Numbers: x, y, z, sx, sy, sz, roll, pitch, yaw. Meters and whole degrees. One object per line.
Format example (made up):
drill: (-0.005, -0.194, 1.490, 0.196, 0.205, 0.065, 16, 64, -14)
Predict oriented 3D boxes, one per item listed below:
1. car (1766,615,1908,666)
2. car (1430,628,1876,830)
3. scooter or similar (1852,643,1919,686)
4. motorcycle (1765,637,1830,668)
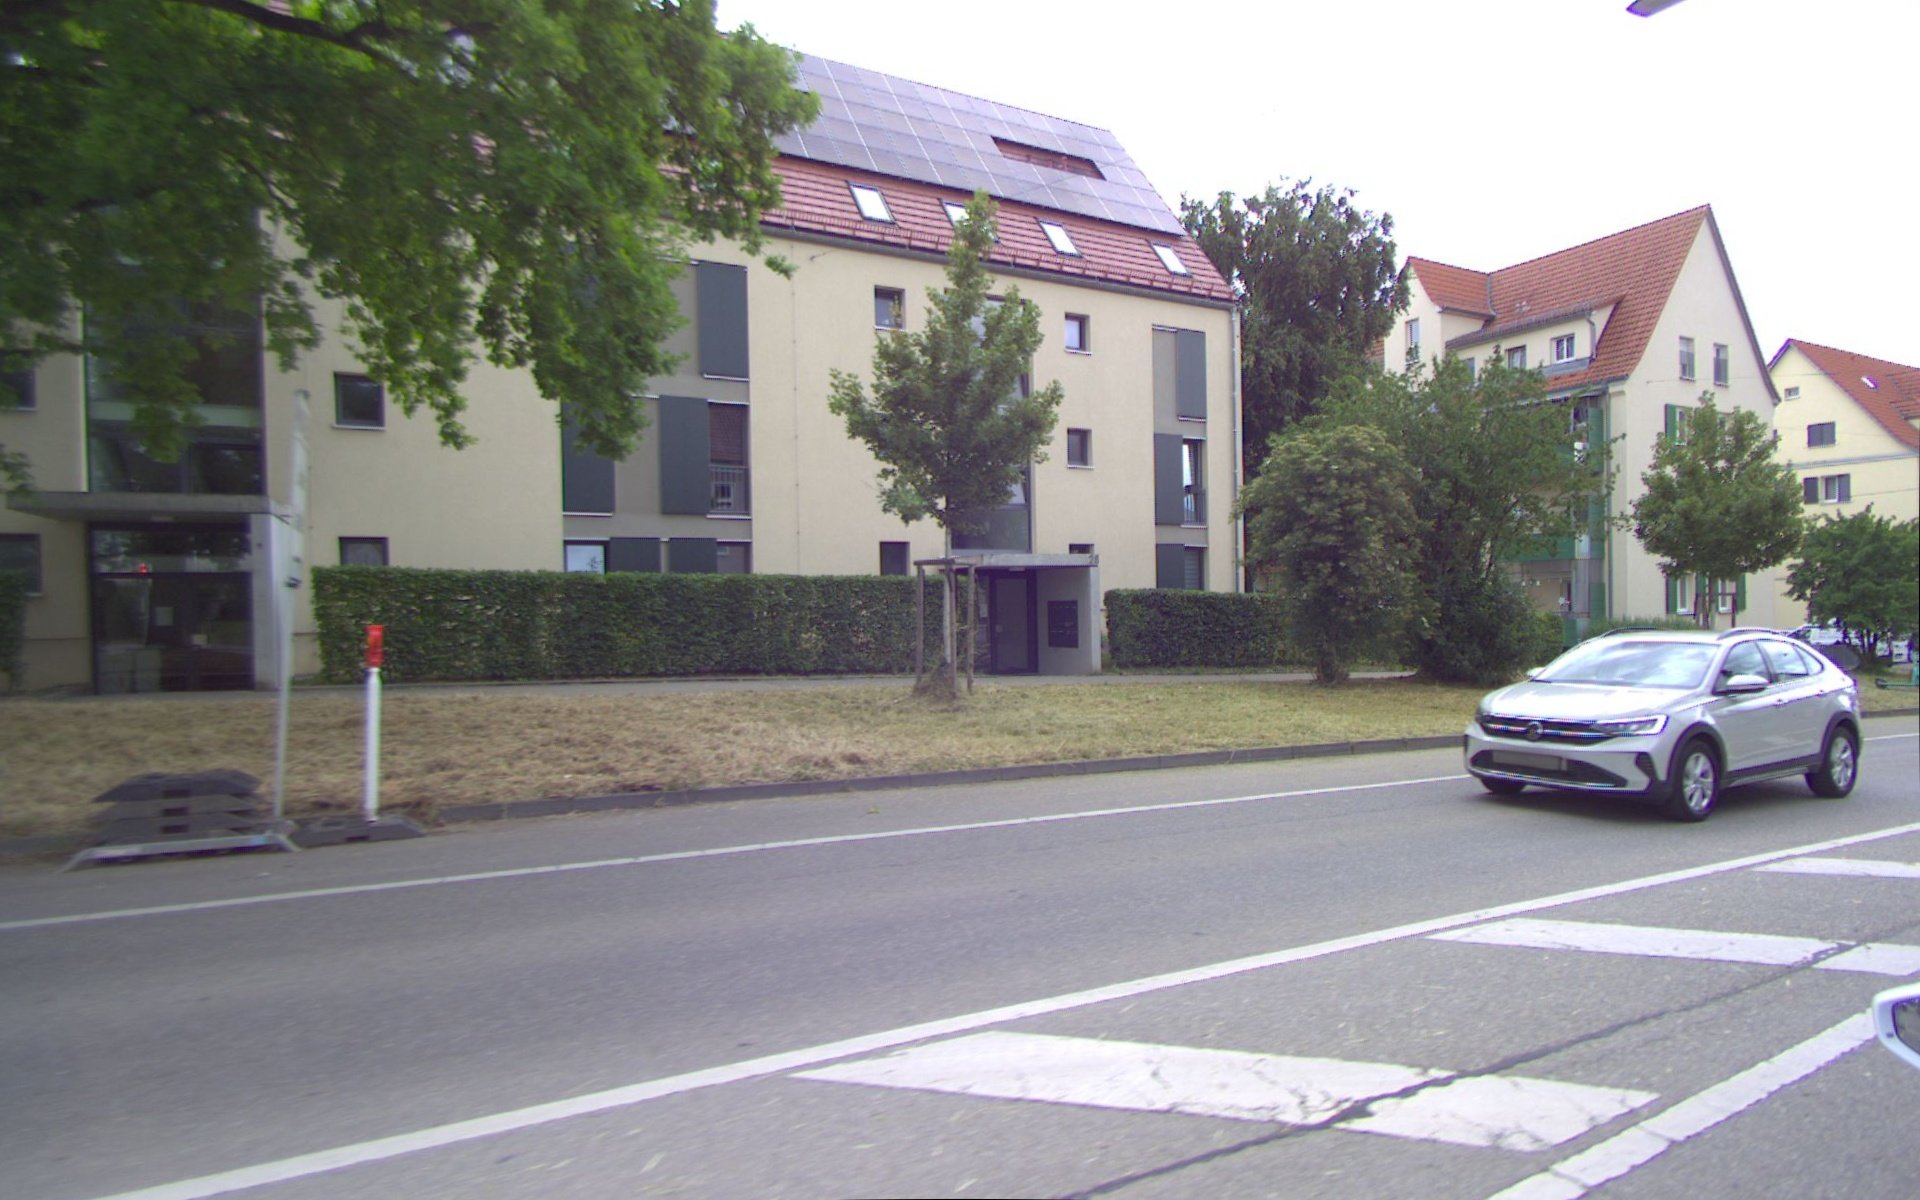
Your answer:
car: (41.668, 1.862, 47.845, 1.970, 2.283, 4.700, 1, -1, -27)
car: (6.361, 1.010, 9.159, 3.981, 1.483, 1.794, 1, -2, -30)
scooter or similar: (24.733, 1.704, 26.758, 0.461, 1.100, 1.362, 1, -1, -32)
motorcycle: (38.475, 2.381, 46.197, 0.996, 1.296, 2.607, 1, 0, 5)
